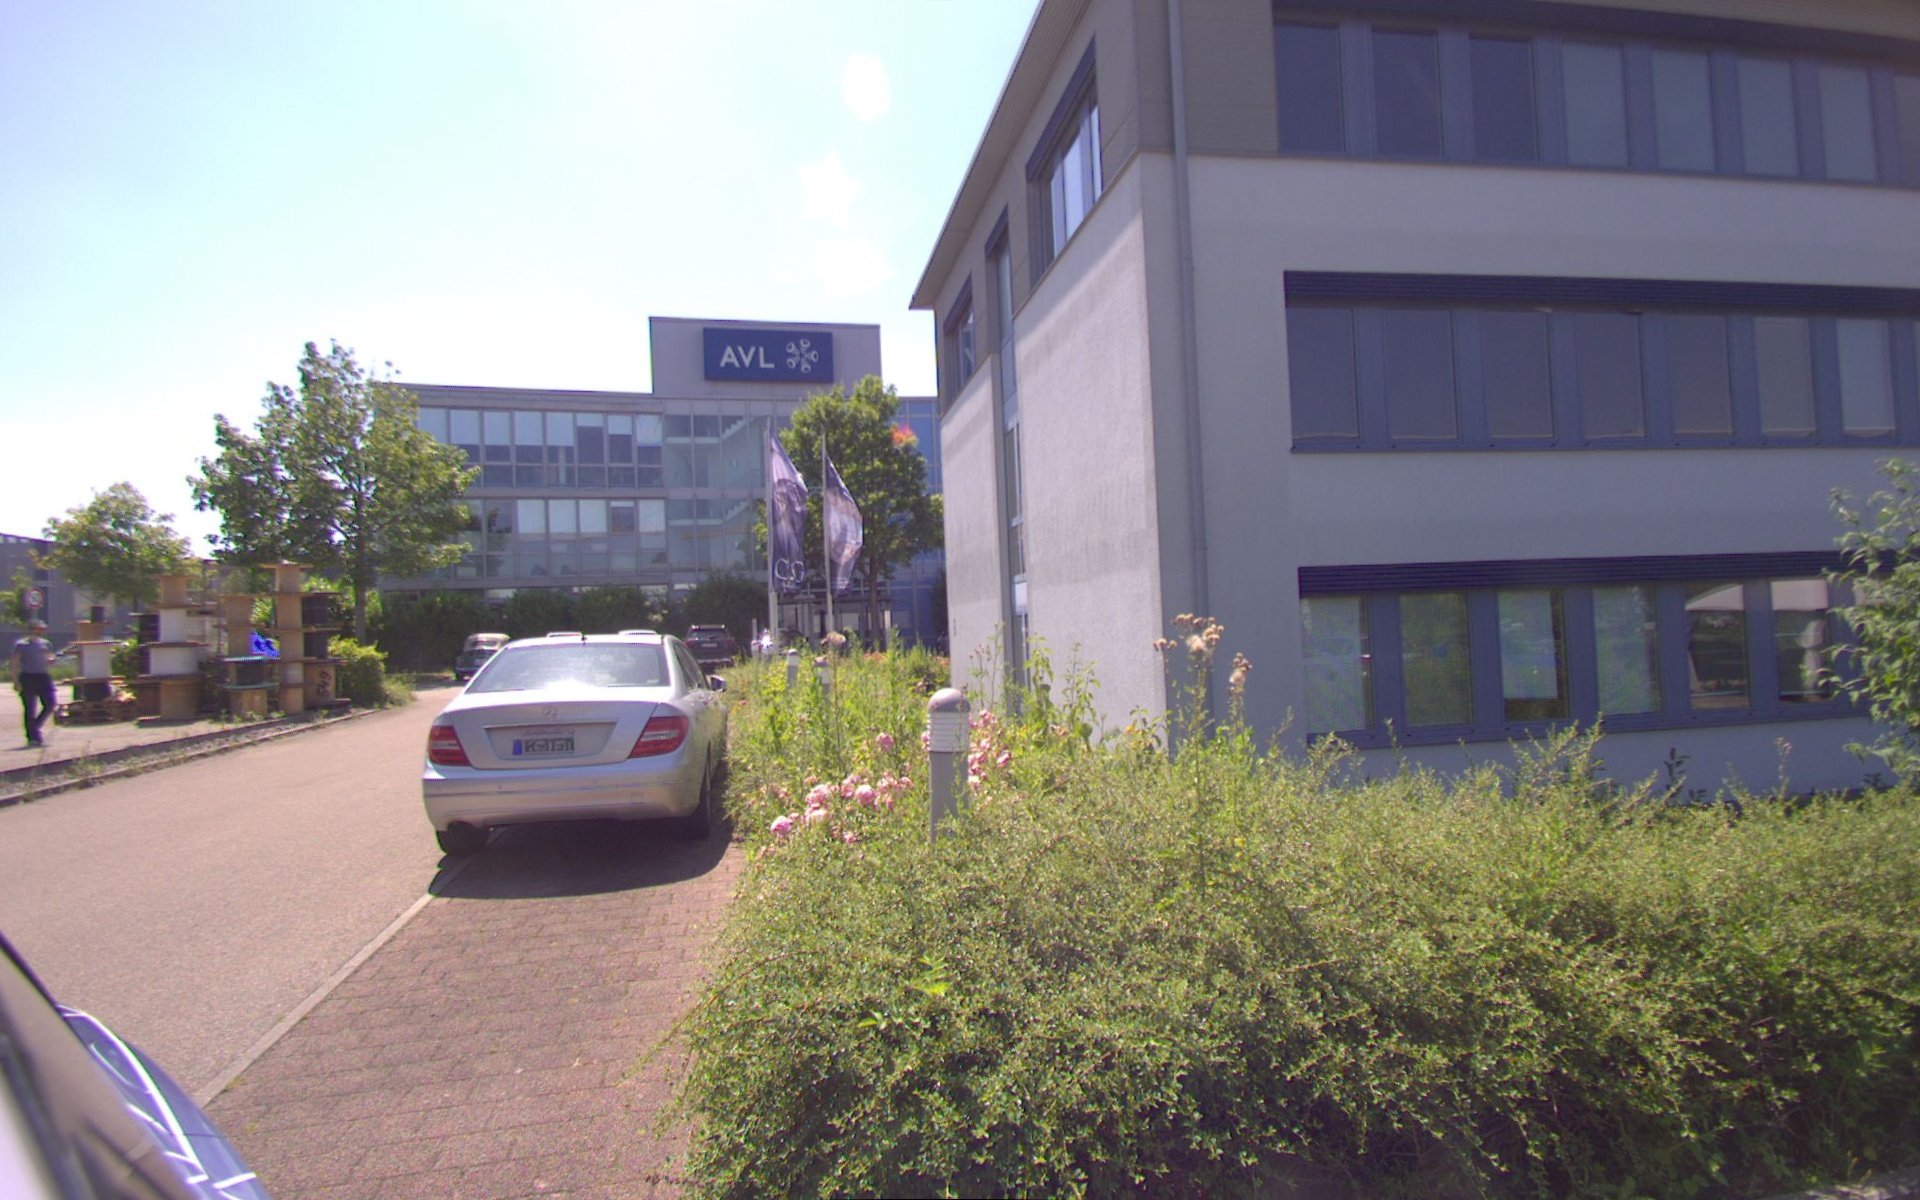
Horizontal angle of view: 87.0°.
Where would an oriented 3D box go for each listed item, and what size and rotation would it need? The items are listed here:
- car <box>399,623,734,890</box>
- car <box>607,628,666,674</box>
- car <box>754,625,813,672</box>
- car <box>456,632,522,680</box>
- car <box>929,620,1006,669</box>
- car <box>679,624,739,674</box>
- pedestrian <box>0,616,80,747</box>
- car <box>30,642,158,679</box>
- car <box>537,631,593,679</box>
[{"bbox_3d":[-2.717,0.949,7.915,1.706,1.468,4.157,-1,-2,-11],"label":"car"},{"bbox_3d":[-11.067,1.686,34.486,1.702,1.463,3.612,0,-1,-21],"label":"car"},{"bbox_3d":[-6.248,1.665,35.472,1.702,1.495,4.408,-1,-2,-14],"label":"car"},{"bbox_3d":[-15.140,1.761,32.648,1.497,1.457,3.429,0,-1,-17],"label":"car"},{"bbox_3d":[0.204,1.610,37.068,1.803,1.650,4.182,-1,-2,-14],"label":"car"},{"bbox_3d":[-8.658,1.632,34.716,1.907,1.615,3.870,0,-1,-15],"label":"car"},{"bbox_3d":[-13.220,1.127,14.367,0.762,1.782,0.805,-2,-1,16],"label":"pedestrian"},{"bbox_3d":[-38.763,2.704,45.374,4.356,1.487,1.779,-2,-2,3],"label":"car"},{"bbox_3d":[-12.998,1.756,33.364,1.615,1.463,3.612,0,-1,-21],"label":"car"}]
